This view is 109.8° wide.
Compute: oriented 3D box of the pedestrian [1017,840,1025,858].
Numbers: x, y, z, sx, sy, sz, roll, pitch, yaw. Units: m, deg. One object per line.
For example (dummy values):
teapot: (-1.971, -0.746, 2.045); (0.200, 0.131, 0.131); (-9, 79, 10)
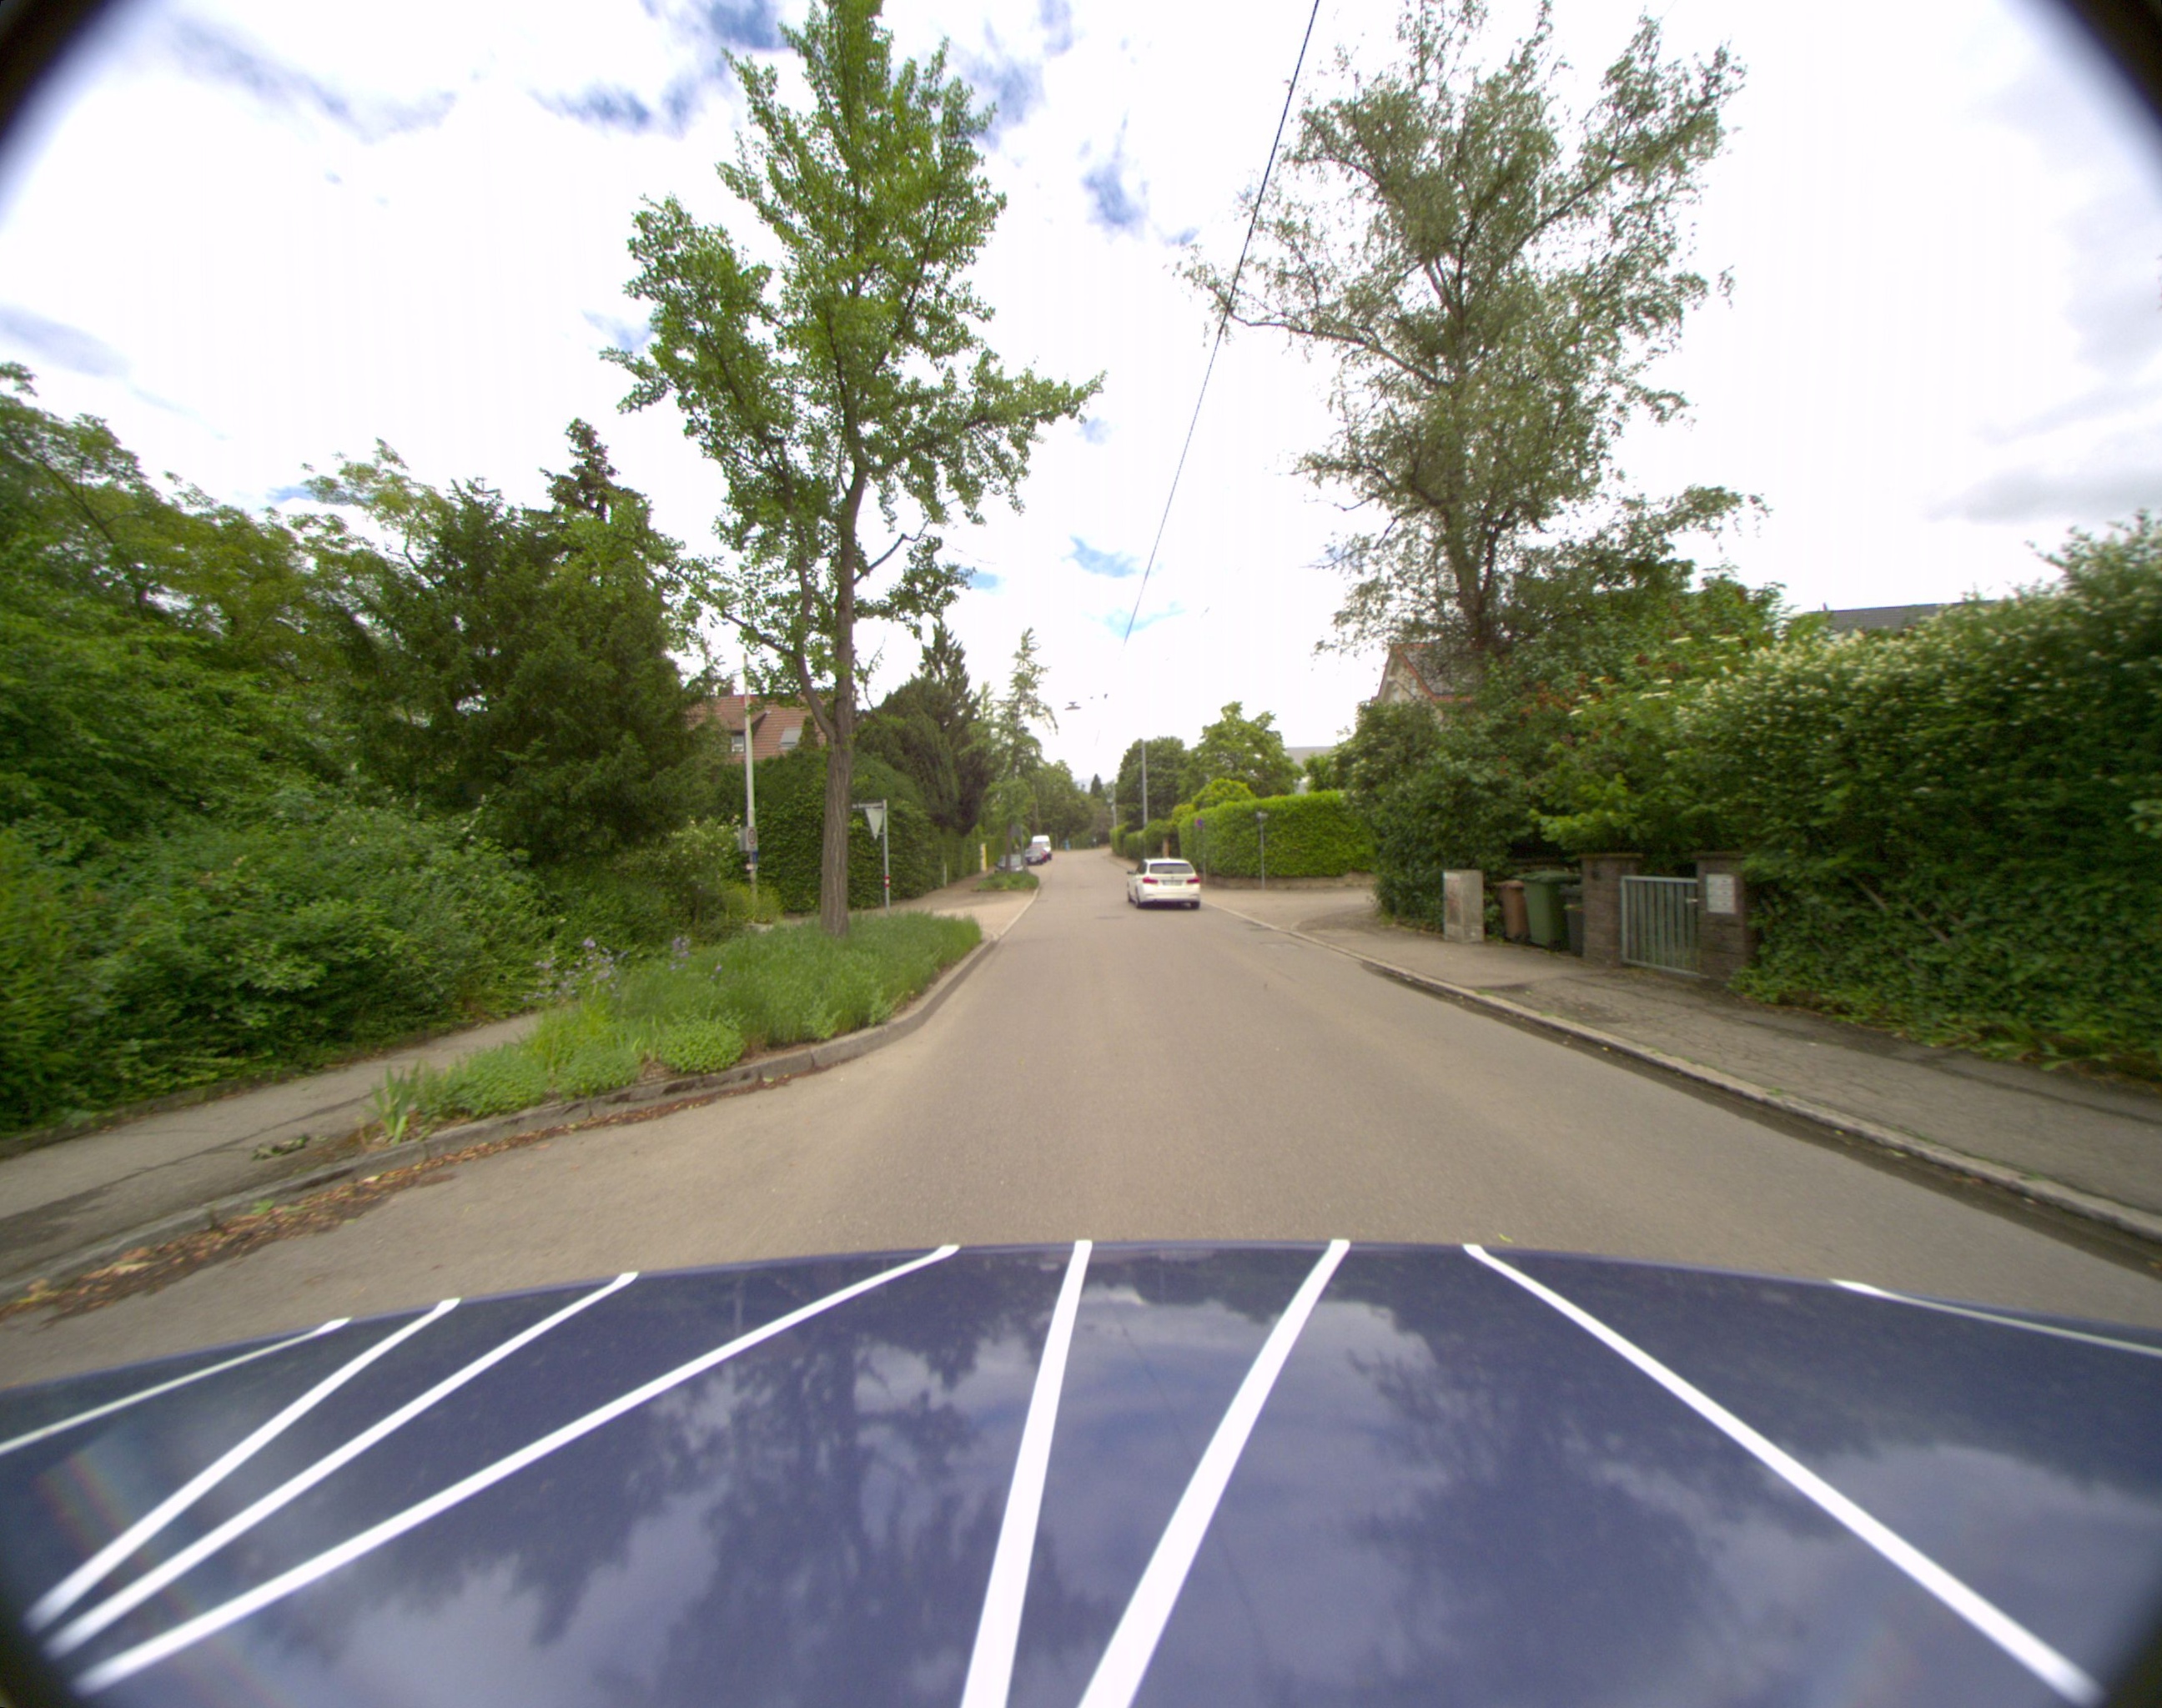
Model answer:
pedestrian: (-5.755, -0.463, 72.985); (0.671, 1.689, 0.918); (-1, 2, 1)

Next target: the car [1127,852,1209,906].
car: (2.513, 0.669, 22.829); (1.810, 1.423, 4.299); (1, 1, -2)

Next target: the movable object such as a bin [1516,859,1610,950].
movable object such as a bin: (6.534, 0.670, 10.336); (0.730, 1.119, 0.722); (-5, 1, -4)

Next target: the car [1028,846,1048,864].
car: (-3.825, 0.062, 67.584); (1.683, 1.399, 4.051); (-1, 2, -3)

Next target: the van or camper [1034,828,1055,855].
van or camper: (-4.003, -1.415, 82.856); (2.047, 2.605, 7.034); (-3, 2, -3)

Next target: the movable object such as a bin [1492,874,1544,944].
movable object such as a bin: (6.298, 0.785, 10.967); (0.379, 0.946, 0.512); (-5, 1, -4)

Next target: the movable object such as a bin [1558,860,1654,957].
movable object such as a bin: (6.607, 0.672, 9.590); (0.730, 1.110, 0.585); (-5, 1, -4)

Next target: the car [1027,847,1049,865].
car: (-4.123, 0.132, 74.229); (1.893, 1.572, 4.763); (-1, 2, 0)

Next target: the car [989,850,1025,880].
car: (-4.065, 0.554, 42.401); (1.628, 1.465, 3.739); (-3, 1, -1)
